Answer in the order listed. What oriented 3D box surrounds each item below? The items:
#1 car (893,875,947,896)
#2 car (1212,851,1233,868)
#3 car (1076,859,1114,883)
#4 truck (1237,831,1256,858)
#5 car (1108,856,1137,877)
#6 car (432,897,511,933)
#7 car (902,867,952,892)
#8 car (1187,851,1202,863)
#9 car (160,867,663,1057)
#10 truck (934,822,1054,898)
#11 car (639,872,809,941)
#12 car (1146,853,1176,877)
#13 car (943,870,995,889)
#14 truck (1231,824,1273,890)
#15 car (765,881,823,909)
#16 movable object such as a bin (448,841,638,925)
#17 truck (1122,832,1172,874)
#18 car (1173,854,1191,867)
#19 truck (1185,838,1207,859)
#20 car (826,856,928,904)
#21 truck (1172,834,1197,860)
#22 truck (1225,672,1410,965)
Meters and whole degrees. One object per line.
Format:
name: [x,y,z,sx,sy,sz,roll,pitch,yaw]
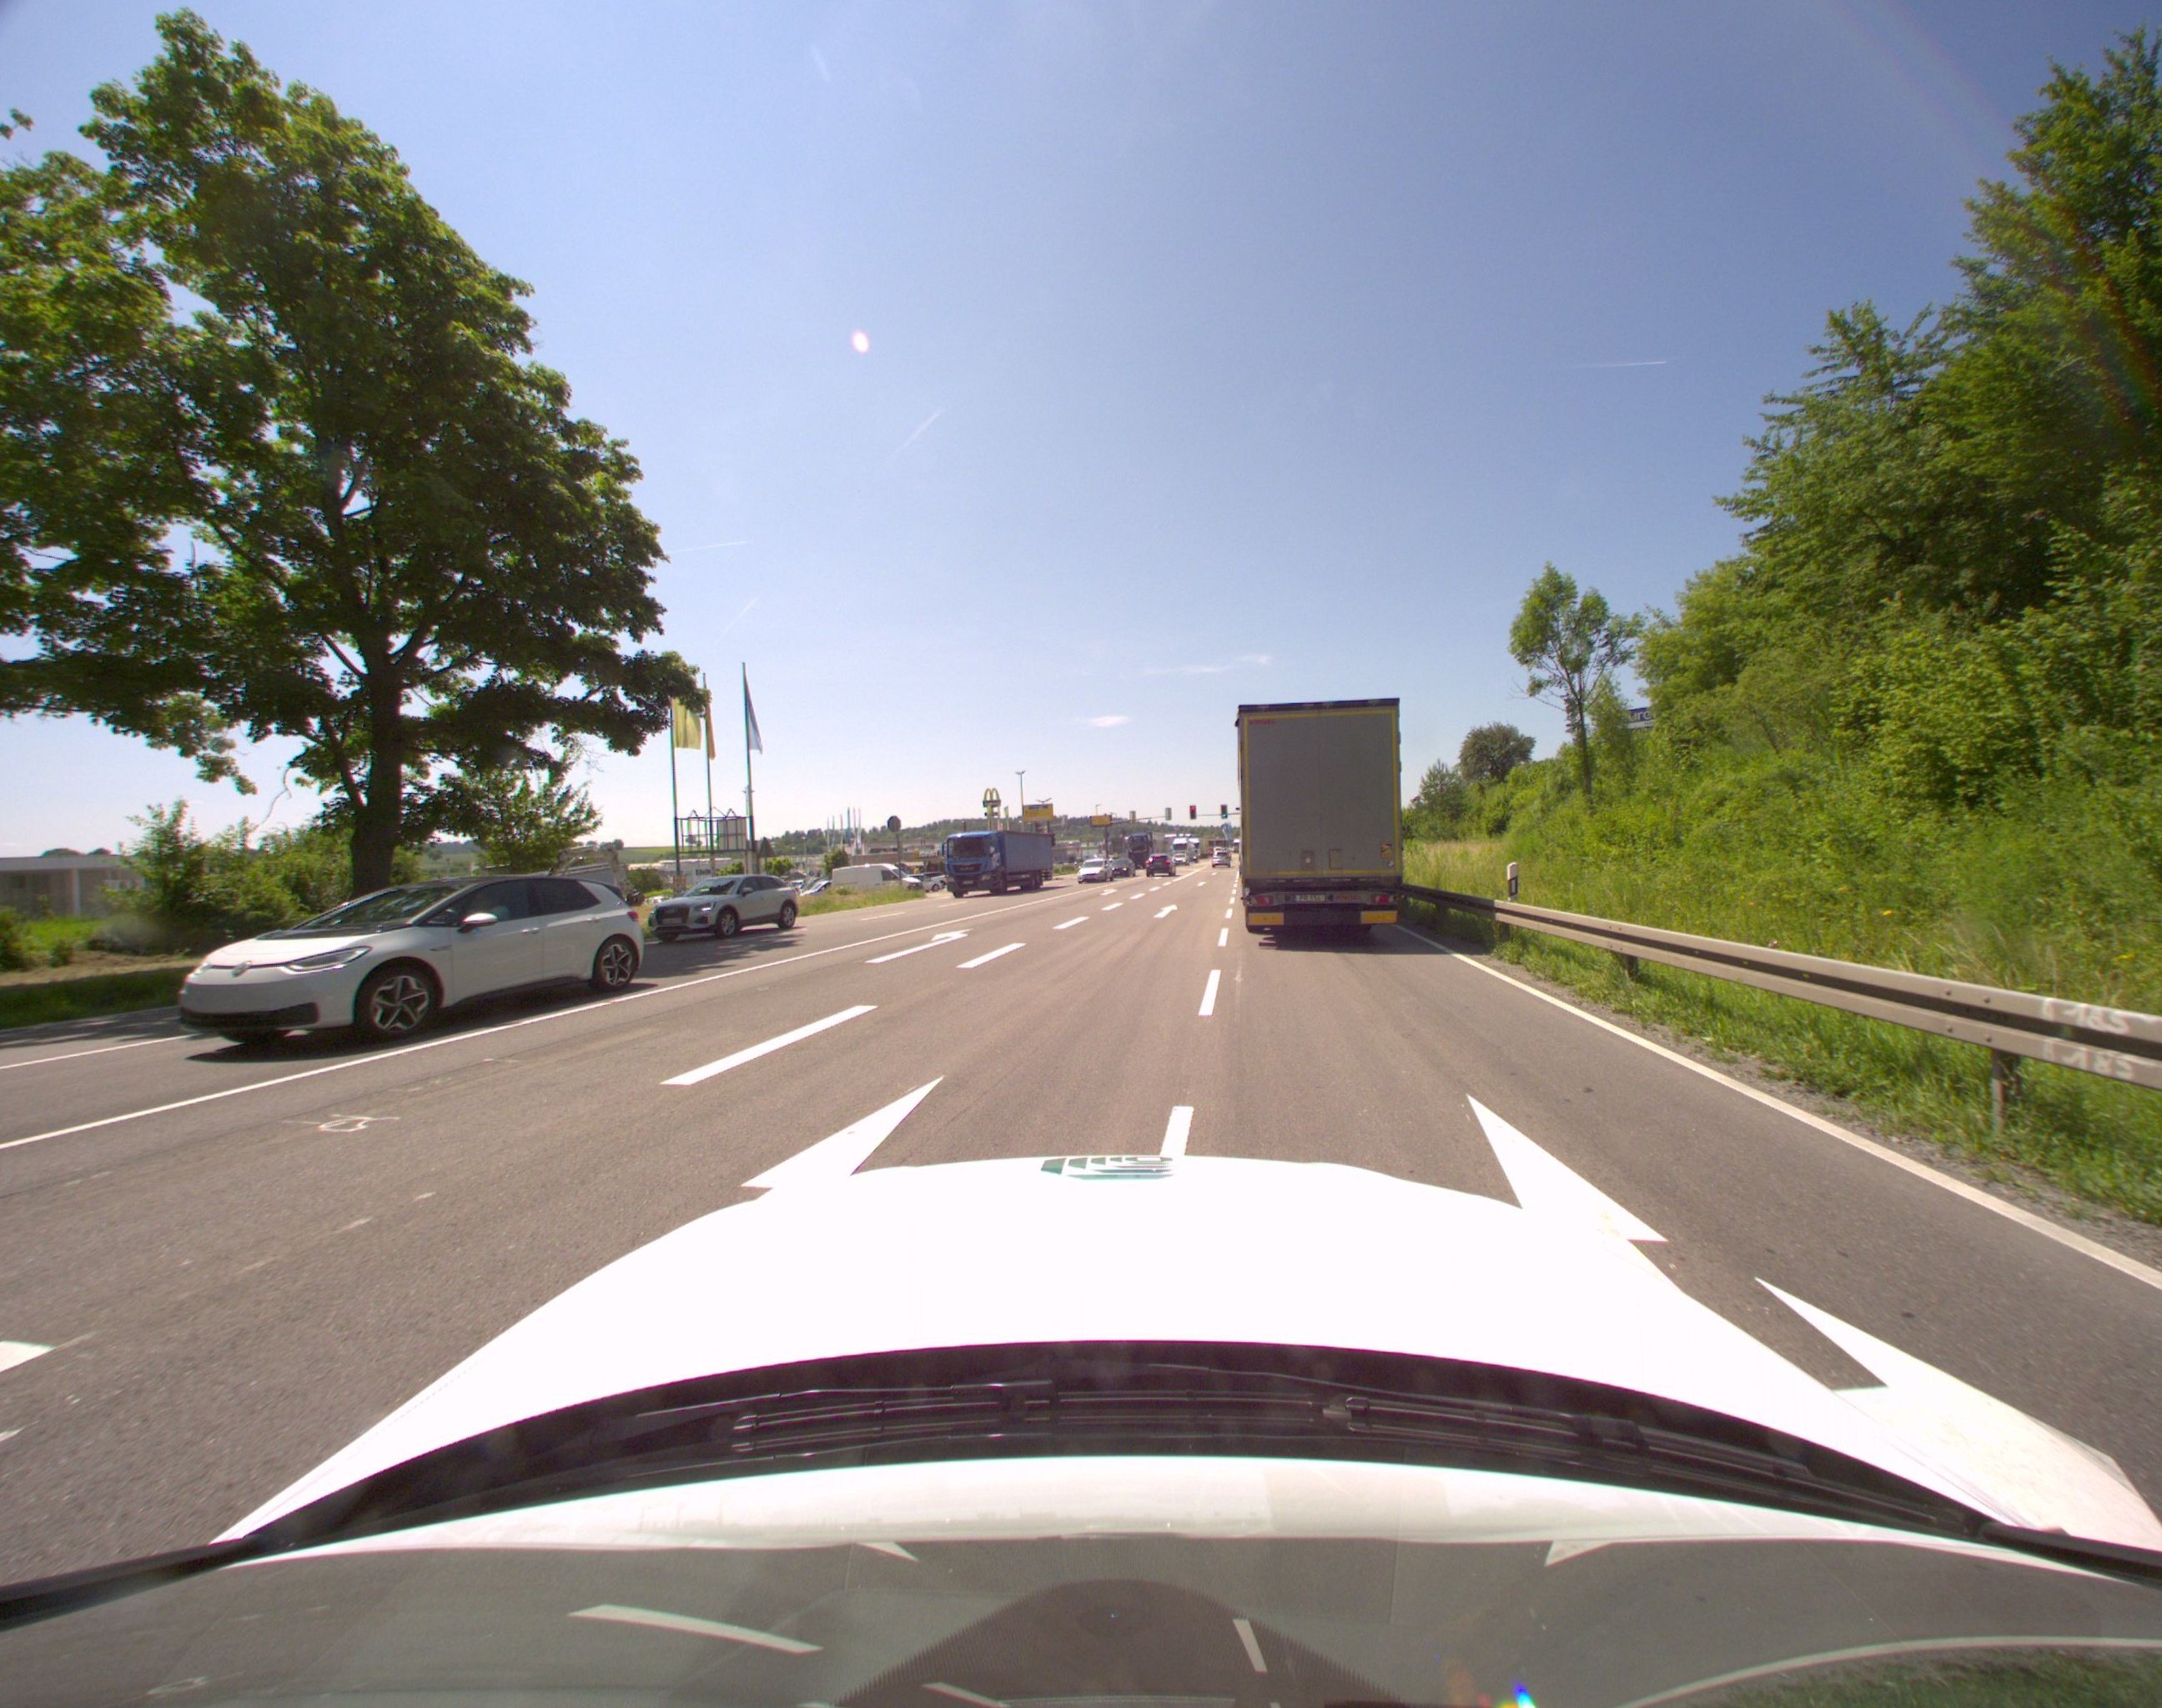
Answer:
car: [-13.697,2.679,69.345,4.219,1.601,1.729,0,-2,-39]
car: [14.514,0.530,83.541,1.792,1.670,4.307,-1,0,13]
car: [0.929,1.066,51.881,1.778,1.426,4.275,-1,0,10]
truck: [24.586,-1.278,120.868,2.591,3.717,9.478,-1,-1,11]
car: [3.175,0.914,61.388,1.652,1.403,4.027,-3,-1,9]
car: [-39.359,3.903,52.665,4.019,2.014,1.977,0,-2,-38]
car: [-13.973,2.330,74.086,4.023,2.014,1.975,-2,-1,-45]
car: [16.054,0.412,114.960,1.652,1.508,3.918,-3,0,12]
car: [-7.058,1.007,9.301,1.781,1.522,4.199,-3,0,11]
truck: [-4.197,0.316,43.064,2.828,3.351,11.518,-2,-1,11]
car: [-8.802,1.249,20.537,1.749,1.428,4.194,-3,-1,12]
car: [5.830,0.793,58.954,1.782,1.627,4.382,-2,0,10]
car: [-9.448,2.168,68.910,4.031,1.480,1.770,0,-2,-36]
truck: [13.792,0.384,66.398,2.857,4.639,16.704,-1,-1,11]
car: [-23.275,3.312,66.112,4.018,2.014,1.978,-2,-2,-36]
movable object such as a bin: [-23.999,1.200,36.523,6.824,3.298,3.018,-2,-1,-38]
truck: [8.187,-0.152,97.752,3.124,4.349,17.605,-3,0,13]
car: [12.392,0.748,99.600,1.798,1.508,4.962,-3,-1,12]
truck: [23.252,-1.060,163.906,2.914,3.950,13.913,-3,-1,13]
car: [-13.603,1.688,54.512,5.962,2.487,2.198,-7,-1,5]
truck: [17.852,-1.131,139.334,2.915,3.950,14.283,-3,-1,12]
truck: [5.351,-0.398,21.276,2.738,4.639,16.704,-1,-1,11]
